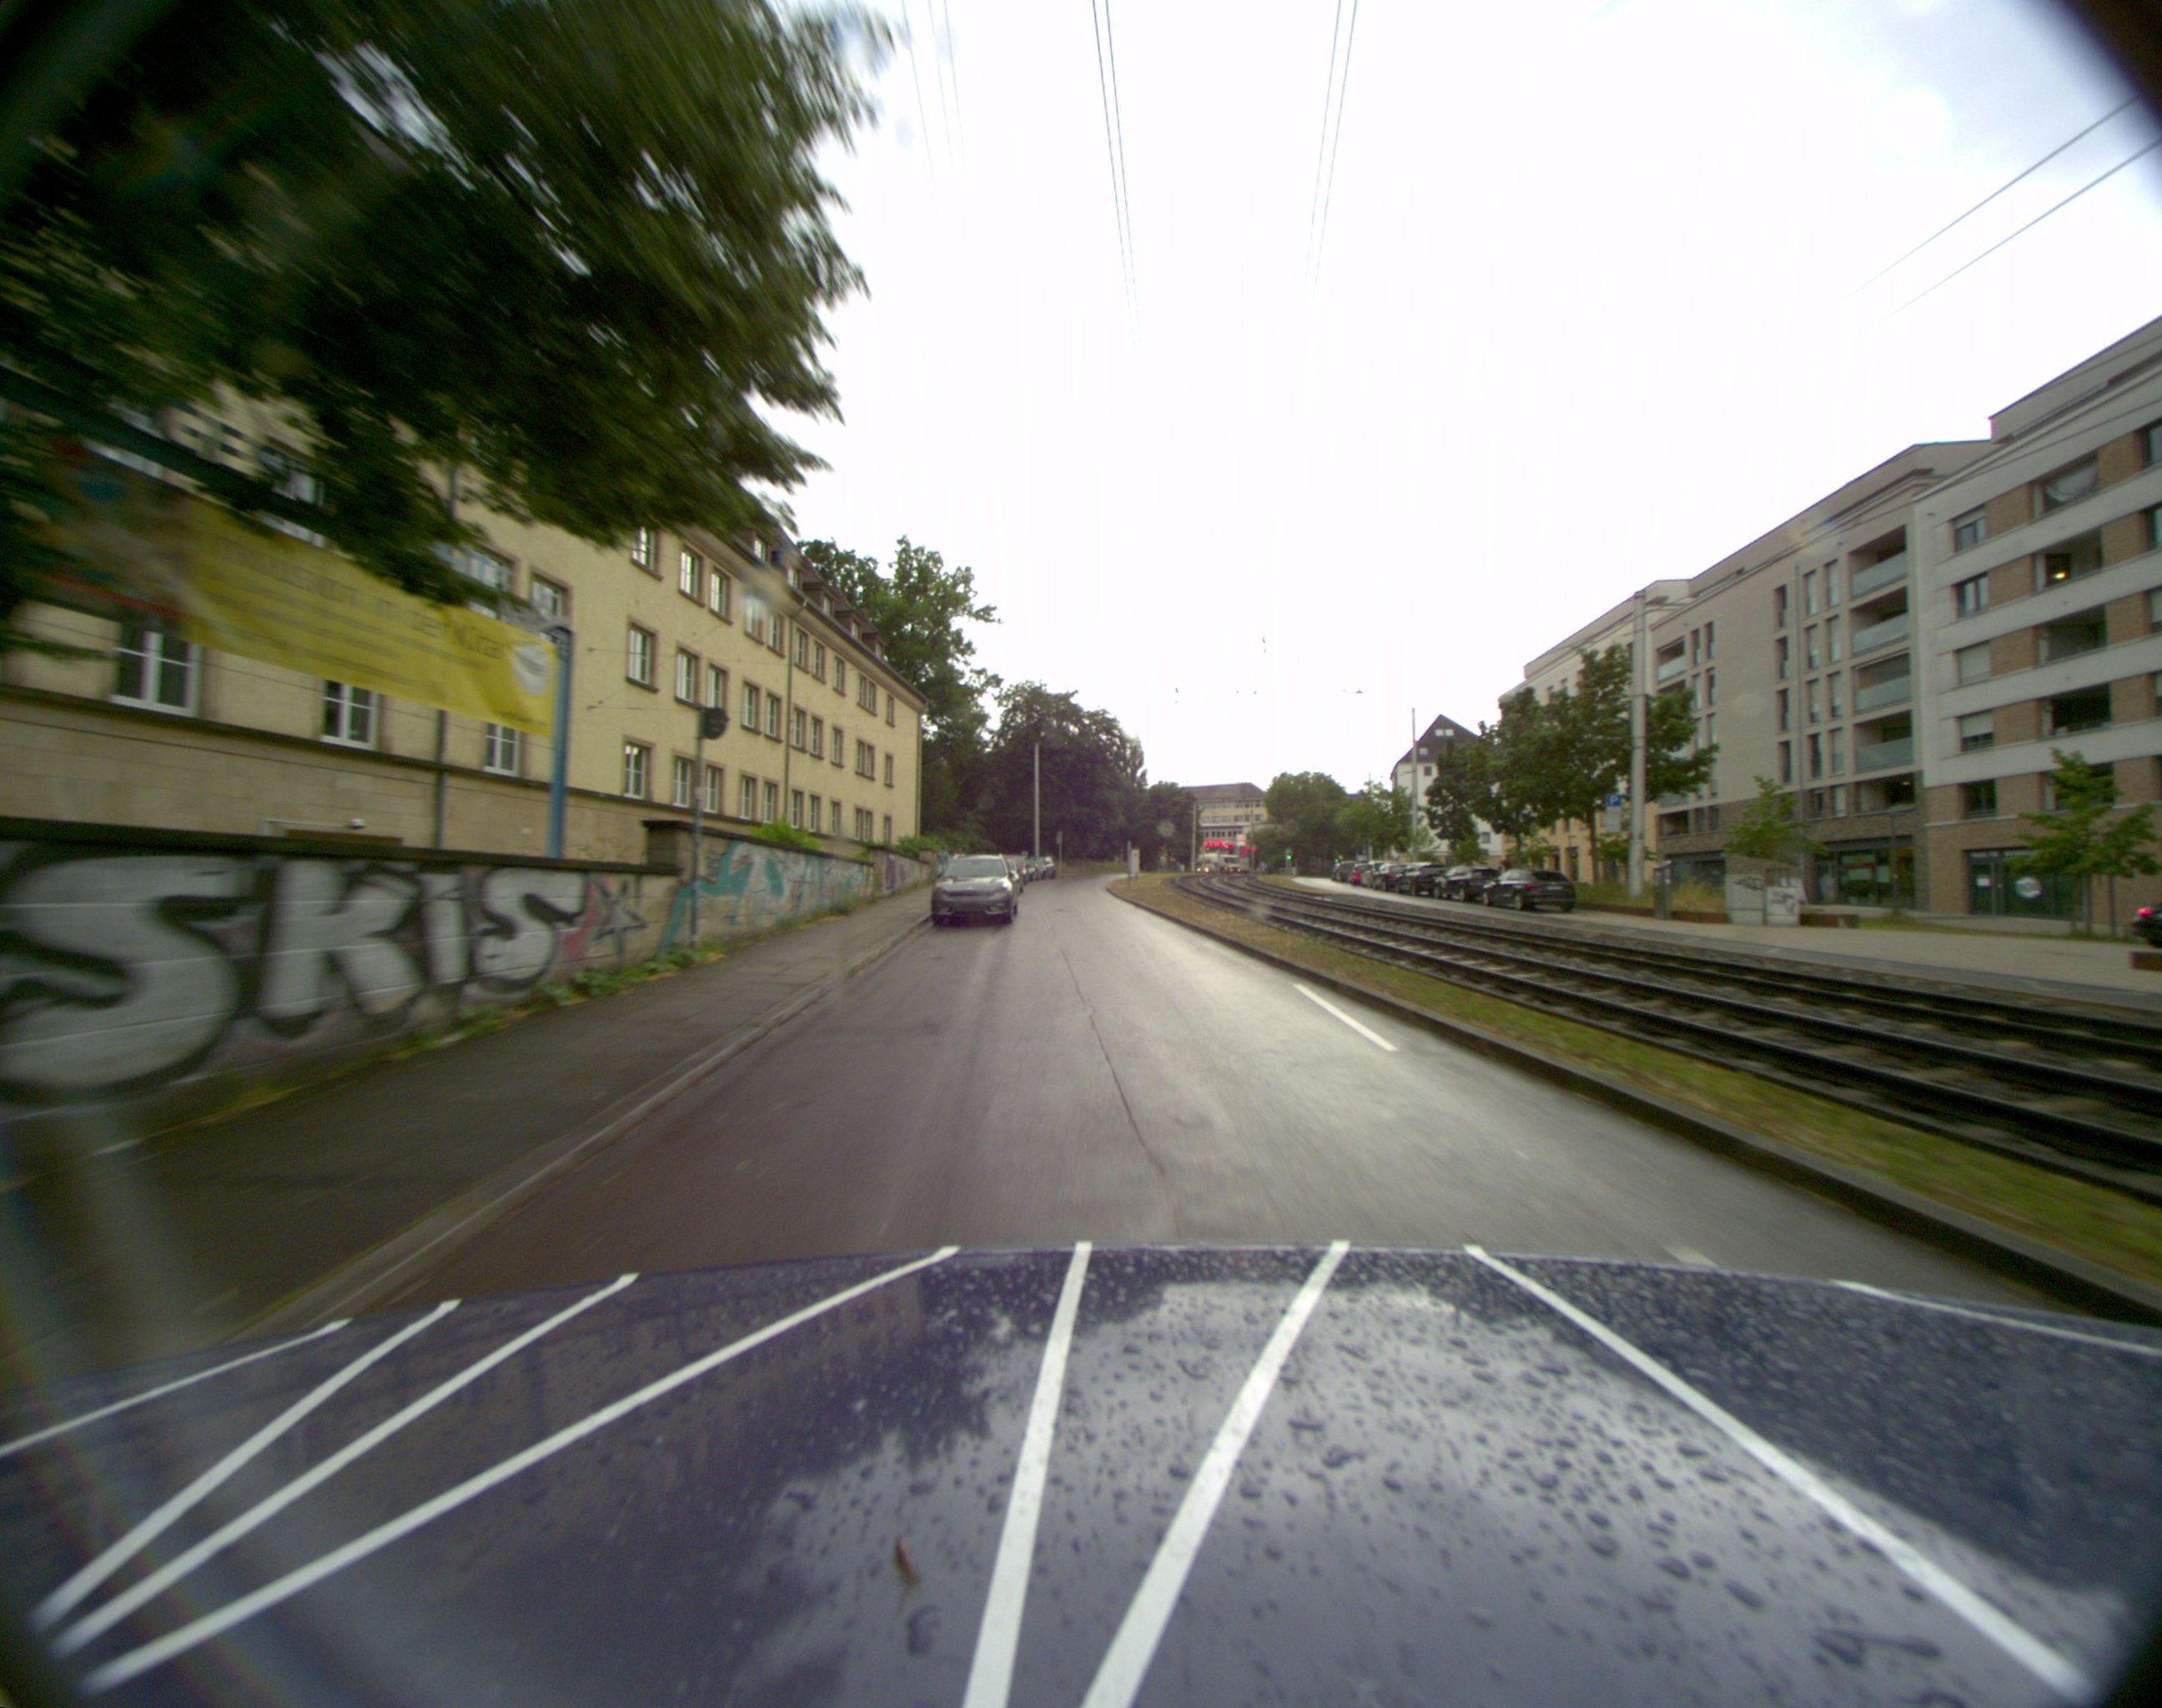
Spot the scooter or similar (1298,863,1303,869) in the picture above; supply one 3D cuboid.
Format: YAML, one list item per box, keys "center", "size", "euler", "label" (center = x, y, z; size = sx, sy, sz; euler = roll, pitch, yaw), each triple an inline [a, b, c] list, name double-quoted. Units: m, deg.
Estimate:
- center: [43.369, 2.423, 150.314]
  size: [0.399, 1.186, 1.365]
  euler: [1, 3, 43]
  label: "scooter or similar"

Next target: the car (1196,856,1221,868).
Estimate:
- center: [16.929, 1.070, 100.740]
  size: [1.885, 1.482, 3.858]
  euler: [1, 0, 33]
  label: "car"

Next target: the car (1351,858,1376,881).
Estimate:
- center: [20.144, 1.088, 54.230]
  size: [1.471, 1.522, 2.935]
  euler: [1, 0, 17]
  label: "car"

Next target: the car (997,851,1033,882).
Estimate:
- center: [-3.547, 0.633, 41.543]
  size: [1.670, 1.564, 3.855]
  euler: [2, 0, -1]
  label: "car"

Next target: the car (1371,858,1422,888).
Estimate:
- center: [18.154, 1.060, 43.893]
  size: [1.734, 1.634, 4.535]
  euler: [0, 0, 10]
  label: "car"

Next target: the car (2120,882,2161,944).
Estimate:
- center: [27.618, 1.484, 17.982]
  size: [3.999, 1.426, 1.762]
  euler: [2, 0, -6]
  label: "car"

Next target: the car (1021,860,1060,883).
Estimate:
- center: [-2.693, 1.169, 50.682]
  size: [1.599, 1.457, 2.725]
  euler: [2, 0, 20]
  label: "car"

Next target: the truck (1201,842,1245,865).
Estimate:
- center: [22.222, -0.068, 119.154]
  size: [6.108, 3.379, 2.843]
  euler: [1, 0, 27]
  label: "truck"

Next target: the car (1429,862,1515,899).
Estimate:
- center: [17.086, 1.101, 33.431]
  size: [1.741, 1.480, 4.258]
  euler: [0, 0, 3]
  label: "car"

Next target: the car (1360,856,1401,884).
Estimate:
- center: [19.427, 0.996, 49.498]
  size: [1.666, 1.737, 4.261]
  euler: [0, 0, 10]
  label: "car"

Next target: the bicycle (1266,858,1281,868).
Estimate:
- center: [22.191, 1.025, 87.616]
  size: [1.709, 1.133, 0.626]
  euler: [1, 0, 9]
  label: "bicycle"

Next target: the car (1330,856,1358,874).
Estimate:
- center: [23.599, 0.964, 68.371]
  size: [1.996, 1.595, 4.219]
  euler: [0, 0, 13]
  label: "car"

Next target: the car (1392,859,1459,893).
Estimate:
- center: [17.244, 1.040, 38.272]
  size: [1.806, 1.574, 4.701]
  euler: [0, 0, 7]
  label: "car"

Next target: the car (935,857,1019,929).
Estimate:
- center: [-2.384, 0.843, 18.262]
  size: [1.670, 1.515, 4.107]
  euler: [0, 0, -3]
  label: "car"

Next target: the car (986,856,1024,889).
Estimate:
- center: [-3.536, 0.824, 35.826]
  size: [1.670, 1.468, 4.064]
  euler: [0, 0, -5]
  label: "car"

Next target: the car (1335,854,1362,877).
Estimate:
- center: [22.383, 0.963, 63.731]
  size: [1.584, 1.848, 4.337]
  euler: [-1, 0, 13]
  label: "car"

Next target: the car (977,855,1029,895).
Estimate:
- center: [-3.068, 0.790, 30.738]
  size: [1.670, 1.468, 4.457]
  euler: [2, 0, -1]
  label: "car"

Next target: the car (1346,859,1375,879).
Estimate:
- center: [21.511, 1.140, 58.546]
  size: [1.553, 1.439, 4.404]
  euler: [0, 0, 13]
  label: "car"

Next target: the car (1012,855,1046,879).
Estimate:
- center: [-3.169, 0.782, 46.941]
  size: [1.539, 1.408, 3.645]
  euler: [2, 0, 5]
  label: "car"

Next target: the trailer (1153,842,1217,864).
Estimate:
- center: [16.688, -0.122, 121.946]
  size: [9.810, 3.376, 2.819]
  euler: [1, 0, 26]
  label: "trailer"

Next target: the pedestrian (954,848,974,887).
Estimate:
- center: [-5.417, 0.626, 35.238]
  size: [0.719, 1.744, 0.739]
  euler: [2, 1, 8]
  label: "pedestrian"

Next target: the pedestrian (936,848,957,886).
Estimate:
- center: [-6.255, 0.607, 35.316]
  size: [0.719, 1.744, 0.739]
  euler: [2, 1, 8]
  label: "pedestrian"

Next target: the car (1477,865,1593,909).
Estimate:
- center: [16.213, 1.134, 27.428]
  size: [1.970, 1.422, 4.201]
  euler: [0, 0, 5]
  label: "car"

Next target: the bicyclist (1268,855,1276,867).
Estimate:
- center: [21.993, 0.815, 87.671]
  size: [0.799, 1.287, 0.595]
  euler: [1, 3, 8]
  label: "bicyclist"
